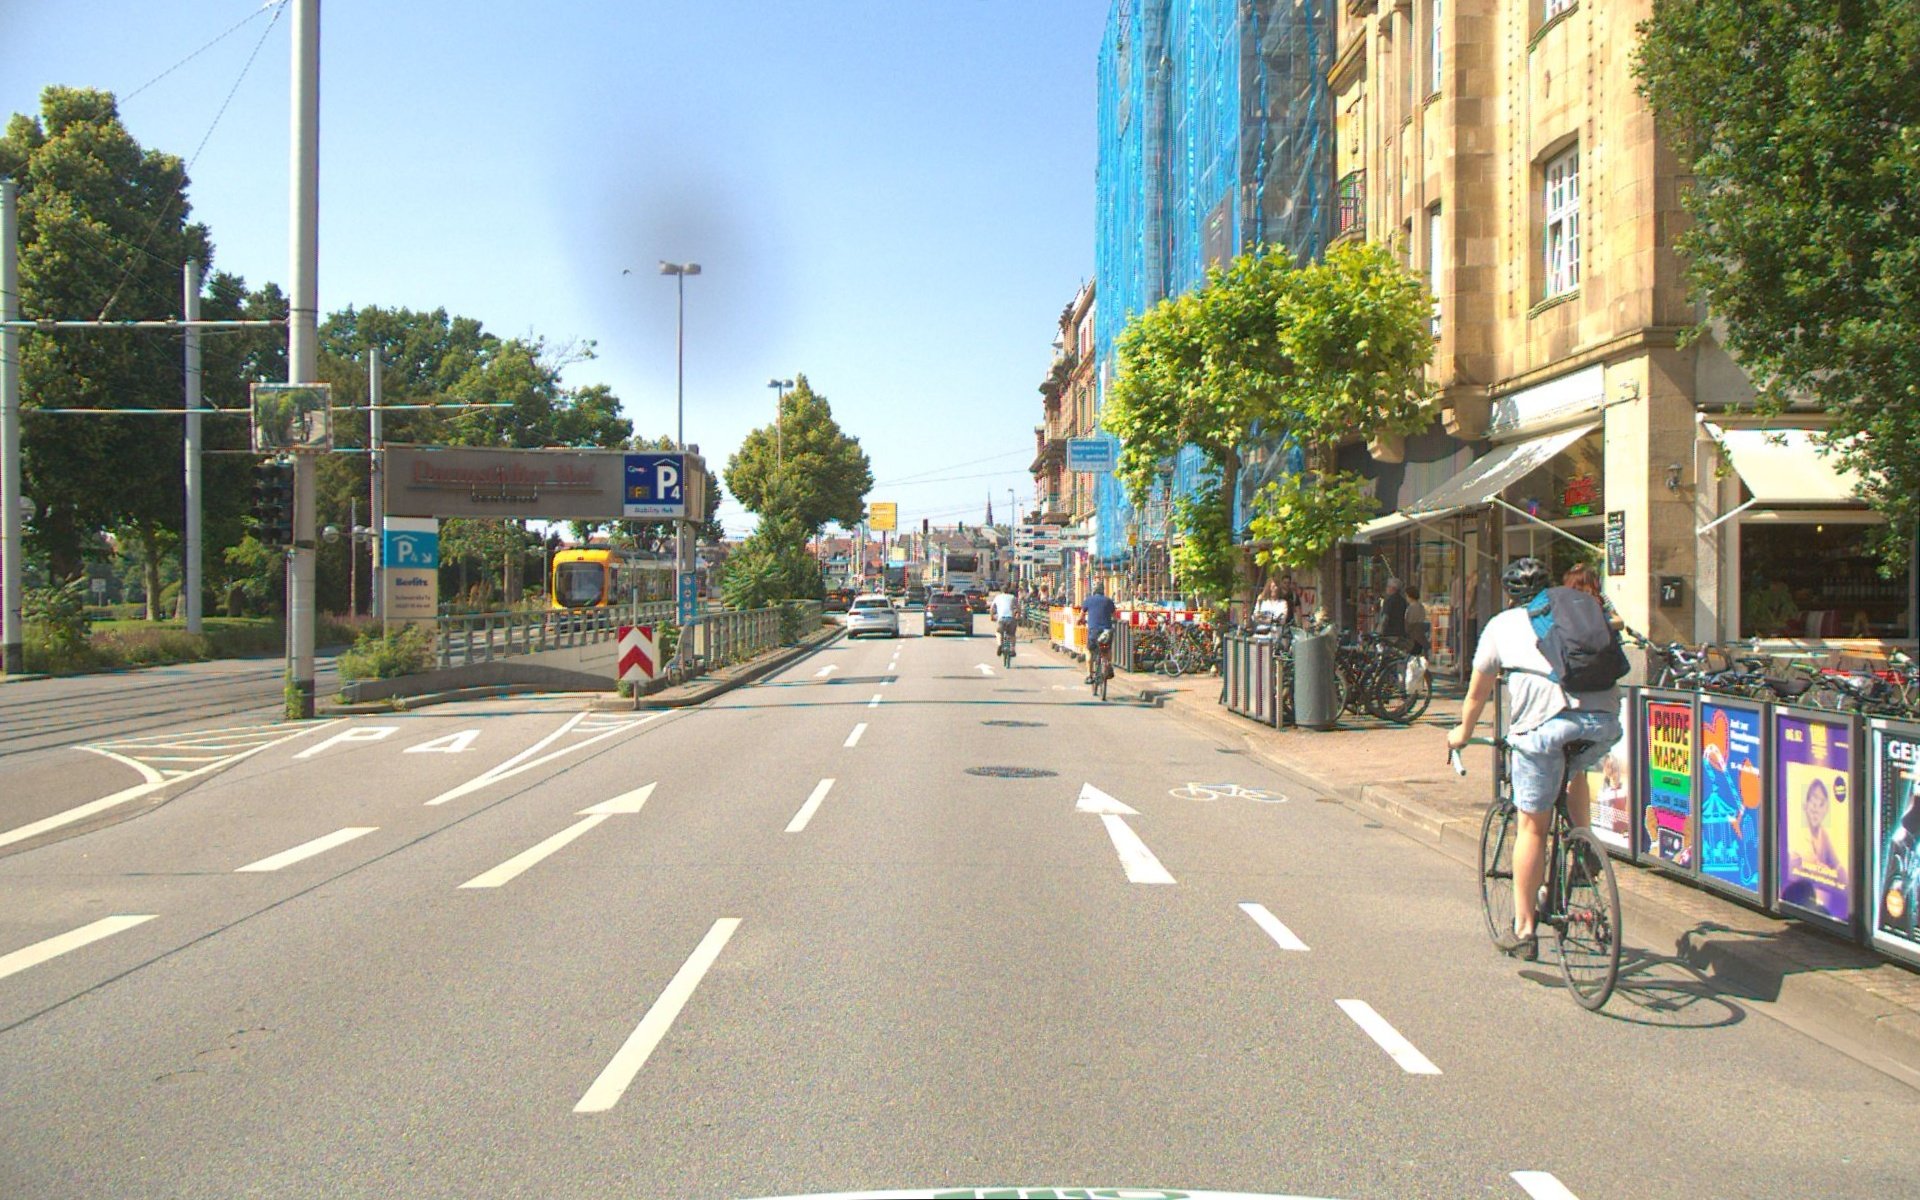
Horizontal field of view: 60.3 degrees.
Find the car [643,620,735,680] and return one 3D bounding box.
[{"bbox_3d":[-7.703,1.394,47.343,1.953,1.534,4.000,2,0,0],"label":"car"}]

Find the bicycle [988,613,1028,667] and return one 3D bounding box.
[{"bbox_3d":[1.039,0.868,36.336,0.719,1.112,1.897,2,0,-2],"label":"bicycle"}]

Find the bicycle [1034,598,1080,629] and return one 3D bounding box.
[{"bbox_3d":[3.640,0.509,61.954,1.659,1.106,0.608,1,0,-1],"label":"bicycle"}]

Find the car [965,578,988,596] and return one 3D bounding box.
[{"bbox_3d":[1.740,-1.357,173.024,1.951,1.910,4.003,-1,0,5],"label":"car"}]

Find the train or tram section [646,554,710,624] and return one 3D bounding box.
[{"bbox_3d":[-15.606,-0.590,91.843,2.560,3.643,6.016,2,0,-1],"label":"train or tram section"}]

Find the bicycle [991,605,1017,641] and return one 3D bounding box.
[{"bbox_3d":[1.403,0.731,53.317,0.719,1.112,1.897,2,0,-1],"label":"bicycle"}]

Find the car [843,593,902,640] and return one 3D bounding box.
[{"bbox_3d":[-3.032,0.553,57.936,1.821,1.533,4.000,2,0,0],"label":"car"}]

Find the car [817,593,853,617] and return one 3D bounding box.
[{"bbox_3d":[-7.408,0.314,98.494,1.778,1.355,4.000,2,0,0],"label":"car"}]

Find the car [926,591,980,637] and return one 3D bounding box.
[{"bbox_3d":[-0.245,0.482,59.356,1.835,1.519,4.000,2,0,0],"label":"car"}]

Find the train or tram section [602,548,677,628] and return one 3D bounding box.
[{"bbox_3d":[-15.315,-0.567,79.288,2.560,3.643,5.355,2,0,-1],"label":"train or tram section"}]

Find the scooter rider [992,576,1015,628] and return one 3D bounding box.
[{"bbox_3d":[1.501,0.058,57.142,0.674,1.759,0.778,2,0,-3],"label":"scooter rider"}]

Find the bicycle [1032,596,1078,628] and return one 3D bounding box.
[{"bbox_3d":[3.636,0.465,63.465,1.735,1.199,0.608,1,0,-1],"label":"bicycle"}]

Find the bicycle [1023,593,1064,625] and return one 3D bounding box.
[{"bbox_3d":[3.429,0.372,67.882,1.659,1.262,0.608,1,0,-1],"label":"bicycle"}]

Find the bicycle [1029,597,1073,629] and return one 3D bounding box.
[{"bbox_3d":[3.573,0.508,65.048,1.659,1.199,0.608,1,0,-1],"label":"bicycle"}]

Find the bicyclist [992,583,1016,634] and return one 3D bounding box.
[{"bbox_3d":[1.411,0.273,53.375,0.674,1.604,1.049,2,0,-3],"label":"bicyclist"}]

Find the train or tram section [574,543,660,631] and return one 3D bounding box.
[{"bbox_3d":[-15.192,-0.556,73.590,2.560,3.643,6.102,2,0,-1],"label":"train or tram section"}]

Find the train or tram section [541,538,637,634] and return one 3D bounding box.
[{"bbox_3d":[-15.042,-0.544,67.506,2.561,3.643,6.102,2,0,-1],"label":"train or tram section"}]

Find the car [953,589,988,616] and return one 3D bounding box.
[{"bbox_3d":[0.605,0.134,96.616,1.953,1.519,4.000,2,0,0],"label":"car"}]

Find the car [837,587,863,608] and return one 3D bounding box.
[{"bbox_3d":[-7.278,-0.166,109.684,1.422,1.323,4.000,2,0,0],"label":"car"}]

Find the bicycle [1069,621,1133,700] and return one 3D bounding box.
[{"bbox_3d":[2.152,0.906,25.415,0.719,1.112,1.910,2,0,-2],"label":"bicycle"}]

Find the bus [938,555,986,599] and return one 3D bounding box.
[{"bbox_3d":[0.073,-1.534,113.214,2.909,2.825,8.638,2,0,-2],"label":"bus"}]

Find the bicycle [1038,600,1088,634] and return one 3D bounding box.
[{"bbox_3d":[3.502,0.584,56.378,1.659,1.116,0.608,1,0,-1],"label":"bicycle"}]

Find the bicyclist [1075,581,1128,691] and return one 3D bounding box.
[{"bbox_3d":[2.171,0.540,25.427,0.674,1.644,0.918,2,0,-2],"label":"bicyclist"}]

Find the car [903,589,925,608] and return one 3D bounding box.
[{"bbox_3d":[-3.253,-0.110,116.917,1.422,1.323,3.341,2,0,-1],"label":"car"}]

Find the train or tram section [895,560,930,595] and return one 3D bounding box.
[{"bbox_3d":[-5.065,-2.399,178.664,2.763,3.643,8.230,2,0,5],"label":"train or tram section"}]

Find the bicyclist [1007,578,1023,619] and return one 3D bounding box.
[{"bbox_3d":[2.705,-0.088,81.817,0.674,1.996,0.778,2,0,-3],"label":"bicyclist"}]

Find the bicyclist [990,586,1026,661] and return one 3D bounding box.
[{"bbox_3d":[1.046,0.502,36.371,0.674,1.604,1.049,2,0,-3],"label":"bicyclist"}]

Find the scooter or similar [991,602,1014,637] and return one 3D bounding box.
[{"bbox_3d":[1.469,0.673,57.103,0.674,1.188,1.463,2,0,-3],"label":"scooter or similar"}]

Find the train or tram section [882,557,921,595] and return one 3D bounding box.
[{"bbox_3d":[-5.909,-2.412,169.600,2.763,3.643,10.038,2,0,5],"label":"train or tram section"}]

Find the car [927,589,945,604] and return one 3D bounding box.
[{"bbox_3d":[-2.224,-0.316,152.982,1.421,1.323,3.342,2,0,2],"label":"car"}]

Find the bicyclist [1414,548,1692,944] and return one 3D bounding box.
[{"bbox_3d":[2.414,0.555,6.861,0.674,1.488,1.142,2,0,-3],"label":"bicyclist"}]

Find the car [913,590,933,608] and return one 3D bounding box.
[{"bbox_3d":[-2.780,-0.106,125.771,1.422,1.323,3.341,2,0,0],"label":"car"}]
